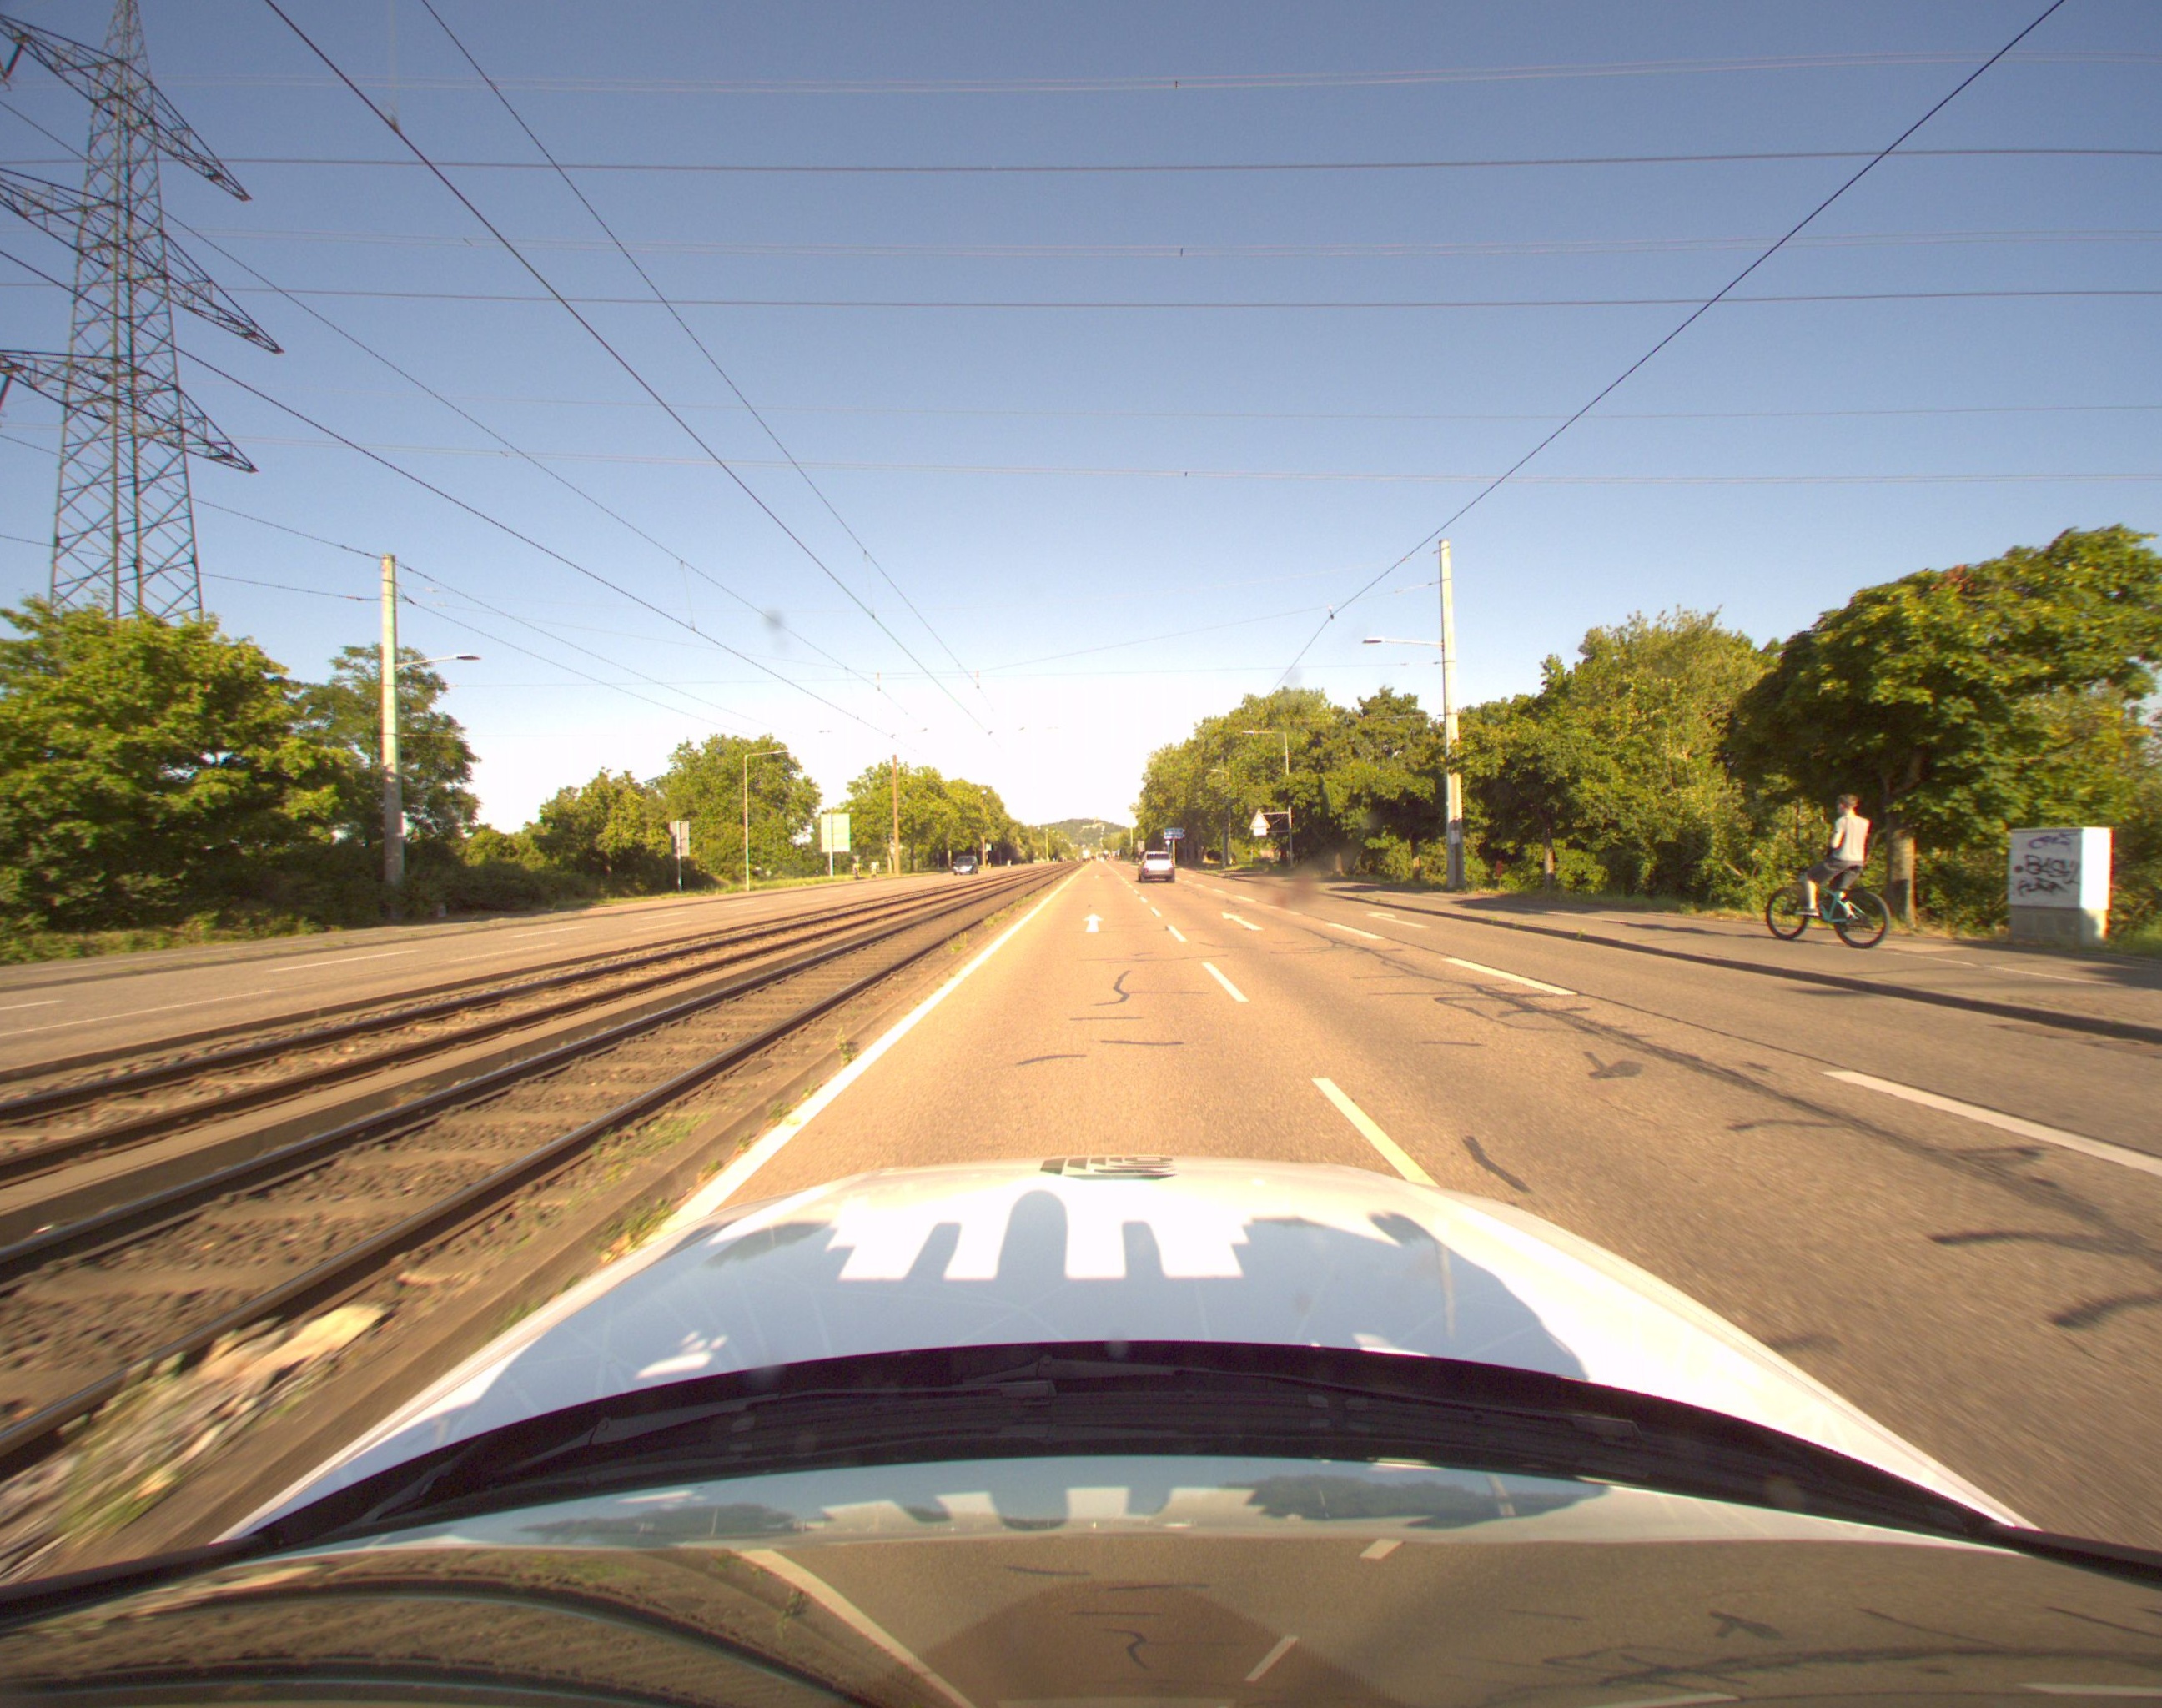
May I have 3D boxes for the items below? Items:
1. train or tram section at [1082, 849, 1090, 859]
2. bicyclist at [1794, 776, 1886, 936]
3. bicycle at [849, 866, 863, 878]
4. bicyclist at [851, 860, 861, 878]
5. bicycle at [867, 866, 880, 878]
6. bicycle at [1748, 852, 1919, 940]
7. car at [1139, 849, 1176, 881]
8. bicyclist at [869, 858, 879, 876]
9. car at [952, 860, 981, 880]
[{"bbox_3d":[1.696,0.087,263.510,2.302,3.217,9.476,1,-1,1],"label":"train or tram section"},{"bbox_3d":[9.921,0.028,10.666,0.525,2.017,0.730,1,-1,2],"label":"bicyclist"},{"bbox_3d":[-19.856,1.605,71.866,0.588,1.022,2.185,-1,-1,1],"label":"bicycle"},{"bbox_3d":[-19.860,1.342,71.861,0.588,1.528,0.906,-1,-1,0],"label":"bicyclist"},{"bbox_3d":[-18.800,1.652,73.893,0.588,1.022,2.185,-1,-1,1],"label":"bicycle"},{"bbox_3d":[9.937,0.521,10.867,0.525,1.060,1.972,1,-1,2],"label":"bicycle"},{"bbox_3d":[4.205,0.610,45.160,1.880,1.693,4.260,-1,-1,3],"label":"car"},{"bbox_3d":[-18.814,1.143,73.992,0.588,1.611,0.967,-1,-1,0],"label":"bicyclist"},{"bbox_3d":[-11.592,1.573,82.819,1.985,1.923,4.863,-2,-1,3],"label":"car"}]
